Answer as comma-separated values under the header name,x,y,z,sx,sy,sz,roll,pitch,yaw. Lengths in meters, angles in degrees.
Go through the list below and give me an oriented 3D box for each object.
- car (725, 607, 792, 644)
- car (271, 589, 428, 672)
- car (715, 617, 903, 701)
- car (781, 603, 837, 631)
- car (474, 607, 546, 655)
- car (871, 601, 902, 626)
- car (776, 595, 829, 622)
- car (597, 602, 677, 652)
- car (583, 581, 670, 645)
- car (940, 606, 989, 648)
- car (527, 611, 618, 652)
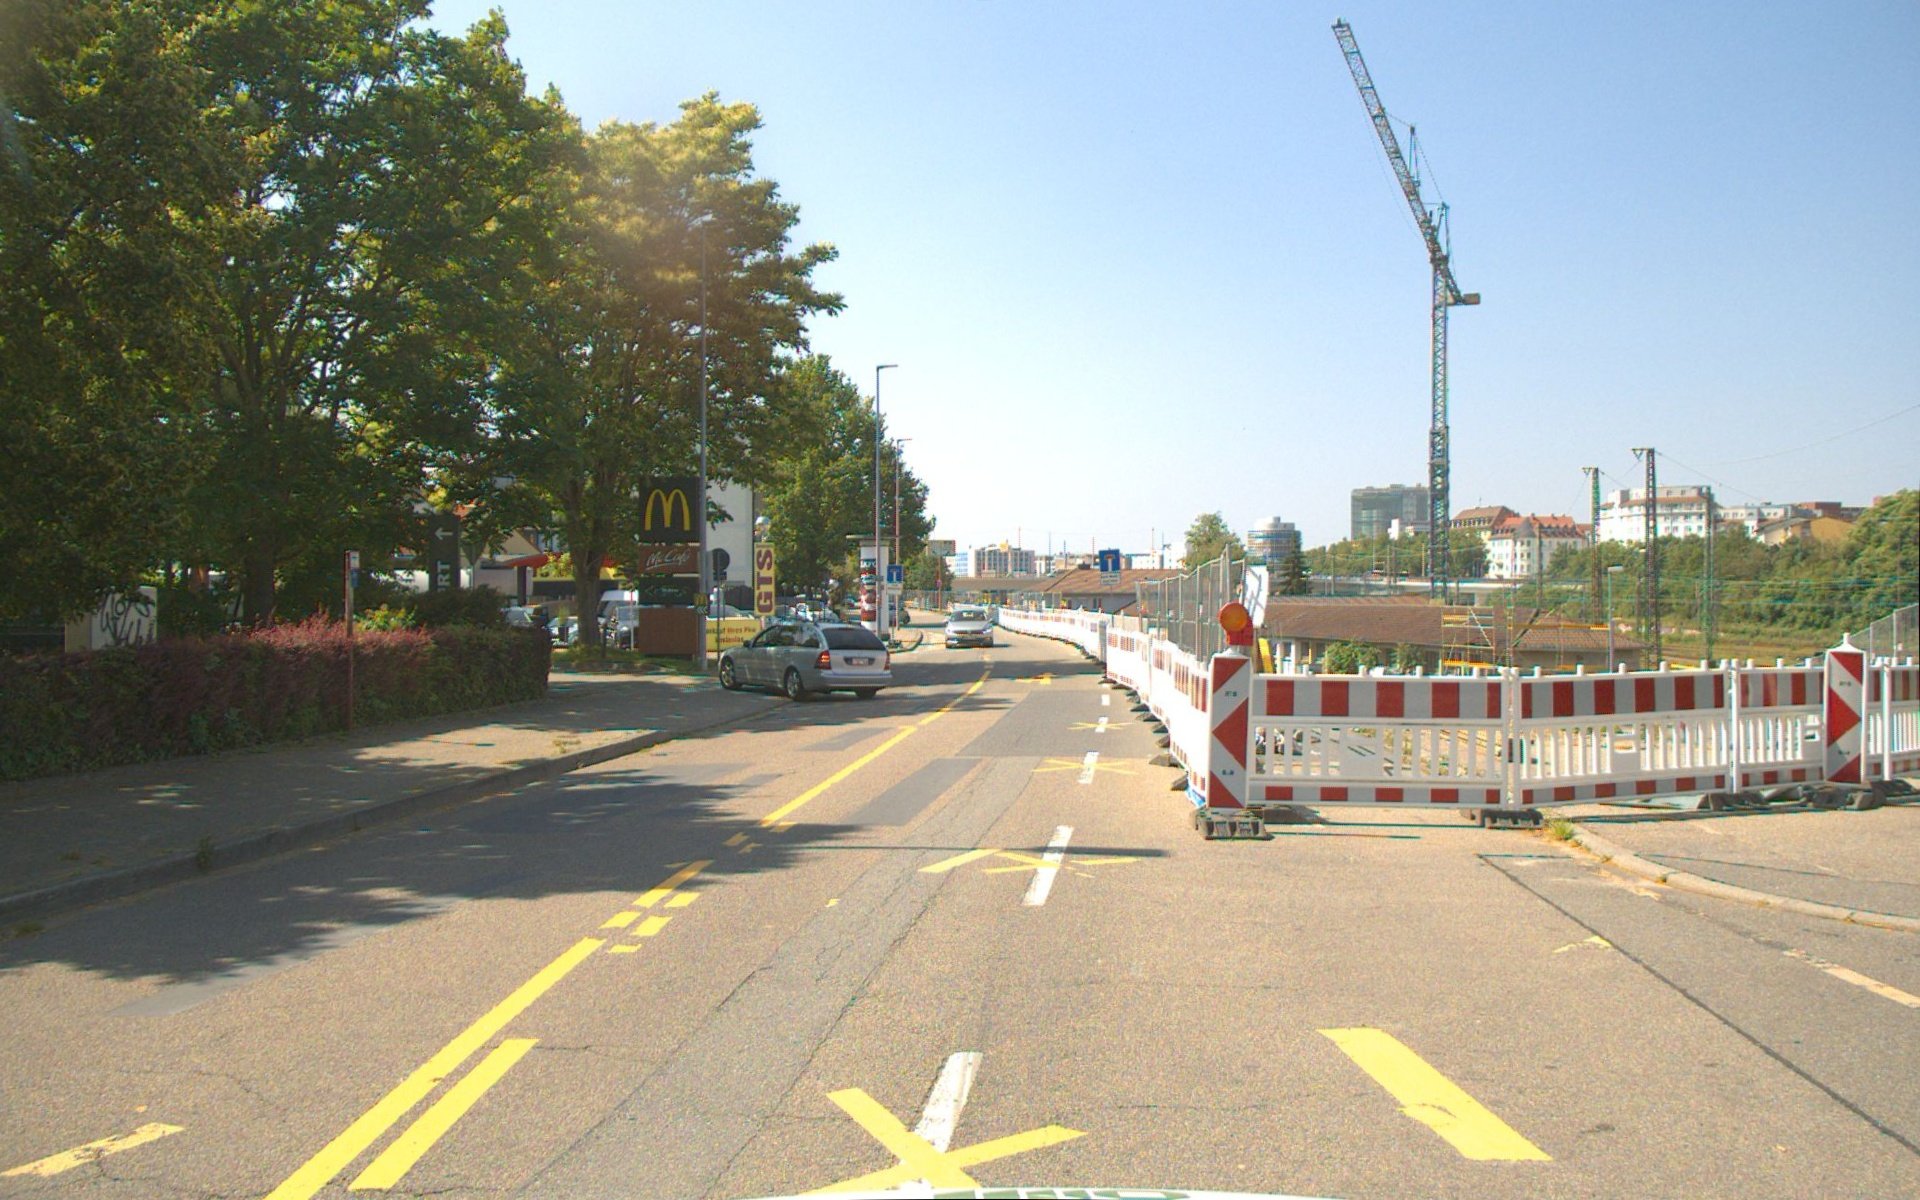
name,x,y,z,sx,sy,sz,roll,pitch,yaw
car,-9.062,1.128,74.078,1.813,1.498,3.969,-3,0,-24
car,-16.915,0.860,45.723,4.435,1.953,1.885,-4,0,37
car,-2.904,1.066,30.946,1.693,1.428,4.336,-1,-1,-33
car,-8.827,1.011,96.412,1.757,1.498,3.960,-3,0,-29
car,-17.103,1.154,62.751,1.783,1.685,4.278,-2,0,-26
car,-4.979,0.906,112.301,1.830,1.524,4.032,-1,1,1
car,-11.798,0.629,123.841,3.850,1.993,1.755,1,0,-9
car,-12.139,1.044,61.970,2.016,1.737,4.282,-1,-2,-24
car,-15.540,0.625,77.428,2.228,2.806,6.156,-1,-1,5
car,0.153,1.011,63.548,1.643,1.519,4.604,-1,0,-2
car,-16.120,1.289,69.033,1.868,1.602,4.691,-1,0,11
